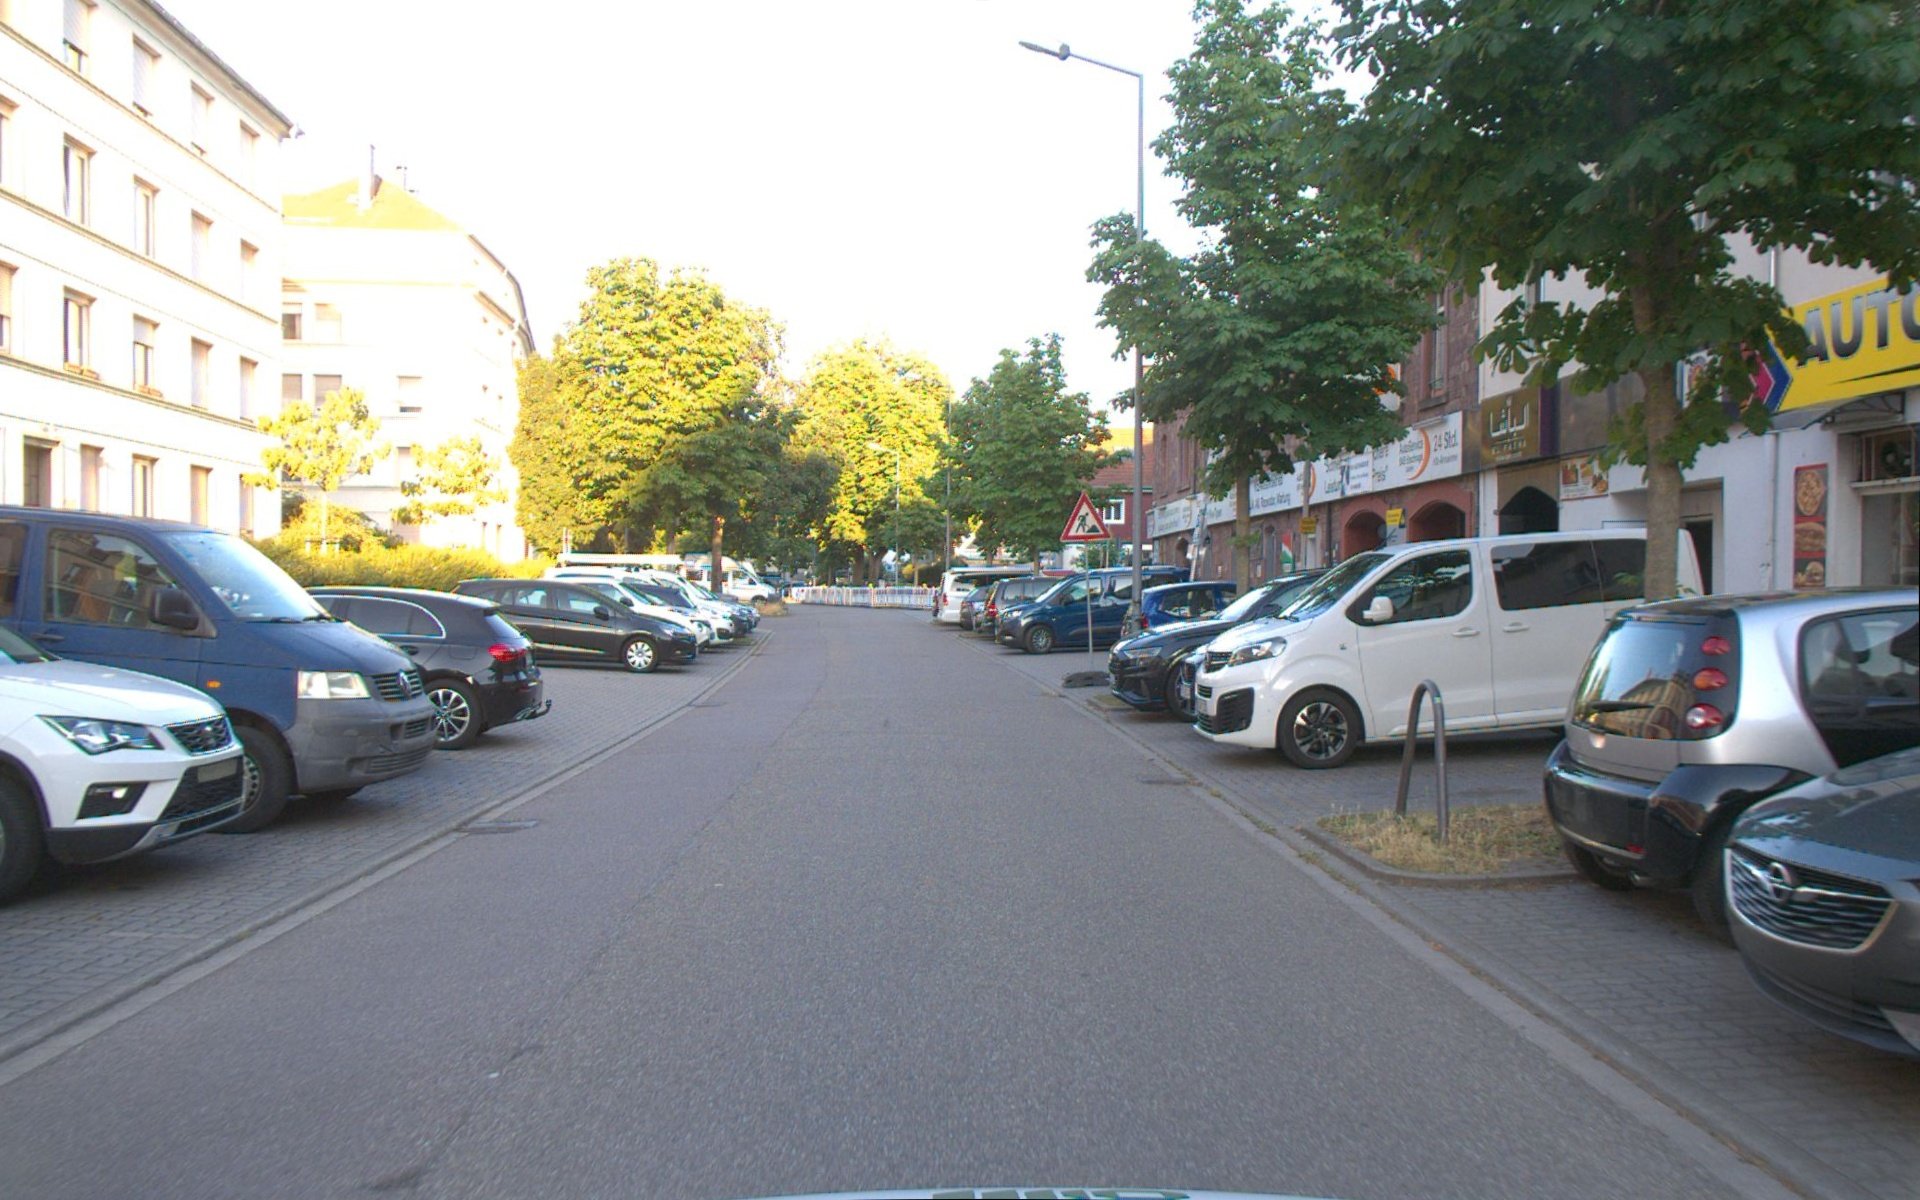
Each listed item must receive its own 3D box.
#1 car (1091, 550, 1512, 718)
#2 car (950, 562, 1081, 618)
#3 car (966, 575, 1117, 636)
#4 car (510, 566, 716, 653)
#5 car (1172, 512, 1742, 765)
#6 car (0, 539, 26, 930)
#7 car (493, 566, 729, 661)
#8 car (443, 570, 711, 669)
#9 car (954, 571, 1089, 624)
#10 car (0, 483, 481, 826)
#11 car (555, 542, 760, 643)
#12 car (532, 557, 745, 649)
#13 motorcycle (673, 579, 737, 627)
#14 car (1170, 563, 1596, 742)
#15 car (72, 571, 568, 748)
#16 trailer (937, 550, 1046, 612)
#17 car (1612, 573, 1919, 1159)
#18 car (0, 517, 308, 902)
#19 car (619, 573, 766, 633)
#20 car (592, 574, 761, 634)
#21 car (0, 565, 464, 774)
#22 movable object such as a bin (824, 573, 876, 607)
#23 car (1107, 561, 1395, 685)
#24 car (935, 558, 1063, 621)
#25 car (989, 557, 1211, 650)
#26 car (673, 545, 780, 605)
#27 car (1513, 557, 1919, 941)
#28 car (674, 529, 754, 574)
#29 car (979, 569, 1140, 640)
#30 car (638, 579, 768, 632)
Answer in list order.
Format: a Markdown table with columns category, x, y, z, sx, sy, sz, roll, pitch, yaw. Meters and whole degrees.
| category | x | y | z | sx | sy | sz | roll | pitch | yaw |
| --- | --- | --- | --- | --- | --- | --- | --- | --- | --- |
| car | 4.011 | 0.373 | 19.994 | 4.600 | 1.659 | 2.000 | -3 | 1 | -1 |
| car | 1.826 | -0.333 | 55.484 | 4.216 | 1.830 | 1.903 | 1 | 0 | -5 |
| car | 2.216 | 0.147 | 45.530 | 3.871 | 1.592 | 1.818 | 1 | 0 | -8 |
| car | -7.155 | 0.183 | 34.434 | 3.909 | 1.510 | 1.754 | 4 | 0 | -5 |
| car | 4.359 | 0.314 | 15.040 | 4.495 | 1.894 | 2.011 | -3 | 0 | -1 |
| car | -5.951 | 0.556 | 6.133 | 3.907 | 1.646 | 1.796 | 0 | 0 | -3 |
| car | -6.666 | 0.239 | 31.926 | 4.159 | 1.649 | 1.812 | 2 | 1 | -3 |
| car | -6.681 | 0.336 | 29.238 | 4.323 | 1.477 | 1.825 | 3 | 0 | -5 |
| car | 1.833 | -0.079 | 49.954 | 3.908 | 1.536 | 1.775 | 1 | 0 | -5 |
| car | -5.891 | 0.326 | 11.091 | 4.755 | 2.090 | 2.000 | 0 | 0 | 0 |
| car | -7.169 | -0.200 | 39.492 | 4.421 | 2.106 | 2.000 | 3 | 1 | -1 |
| car | -7.083 | 0.054 | 36.769 | 4.332 | 1.833 | 1.943 | 2 | 1 | -2 |
| motorcycle | -7.887 | 0.083 | 51.183 | 1.949 | 1.461 | 0.720 | 1 | 0 | -9 |
| car | 4.329 | 0.510 | 17.365 | 3.907 | 1.522 | 1.891 | -4 | 0 | -1 |
| car | -5.961 | 0.544 | 15.846 | 4.060 | 1.441 | 1.736 | 3 | 0 | -7 |
| trailer | 1.163 | -0.708 | 62.179 | 3.908 | 2.226 | 1.998 | 1 | 0 | -5 |
| car | 4.760 | 0.674 | 5.229 | 4.627 | 1.522 | 1.999 | 0 | 0 | -3 |
| car | -5.759 | 0.493 | 8.441 | 4.101 | 1.753 | 1.901 | 0 | 0 | -2 |
| car | -7.554 | 0.080 | 46.983 | 3.907 | 1.611 | 1.728 | 1 | 0 | -2 |
| car | -7.638 | 0.108 | 44.845 | 4.239 | 1.430 | 1.851 | 2 | 0 | -2 |
| car | -6.254 | 0.538 | 13.665 | 3.808 | 1.519 | 1.652 | 2 | 0 | -6 |
| movable object such as a bin | -8.010 | -0.730 | 120.148 | 2.588 | 2.445 | 5.170 | 0 | 0 | -18 |
| car | 4.331 | 0.325 | 25.012 | 3.908 | 1.572 | 1.844 | -3 | 0 | -3 |
| car | 1.206 | -0.325 | 52.812 | 3.909 | 1.937 | 1.998 | 1 | 0 | -5 |
| car | 3.134 | 0.048 | 37.606 | 4.693 | 1.784 | 2.016 | -3 | 2 | -5 |
| car | -10.612 | -1.131 | 75.384 | 4.637 | 2.614 | 1.999 | 1 | 0 | -3 |
| car | 4.764 | 0.559 | 7.778 | 3.711 | 1.522 | 1.679 | -2 | 1 | -4 |
| car | -14.022 | -2.759 | 94.224 | 4.422 | 2.473 | 1.995 | 0 | 0 | -12 |
| car | 2.548 | 0.108 | 42.990 | 3.909 | 1.647 | 1.893 | -2 | 1 | -5 |
| car | -7.660 | 0.156 | 49.522 | 3.639 | 1.532 | 1.689 | 1 | 0 | -2 |
